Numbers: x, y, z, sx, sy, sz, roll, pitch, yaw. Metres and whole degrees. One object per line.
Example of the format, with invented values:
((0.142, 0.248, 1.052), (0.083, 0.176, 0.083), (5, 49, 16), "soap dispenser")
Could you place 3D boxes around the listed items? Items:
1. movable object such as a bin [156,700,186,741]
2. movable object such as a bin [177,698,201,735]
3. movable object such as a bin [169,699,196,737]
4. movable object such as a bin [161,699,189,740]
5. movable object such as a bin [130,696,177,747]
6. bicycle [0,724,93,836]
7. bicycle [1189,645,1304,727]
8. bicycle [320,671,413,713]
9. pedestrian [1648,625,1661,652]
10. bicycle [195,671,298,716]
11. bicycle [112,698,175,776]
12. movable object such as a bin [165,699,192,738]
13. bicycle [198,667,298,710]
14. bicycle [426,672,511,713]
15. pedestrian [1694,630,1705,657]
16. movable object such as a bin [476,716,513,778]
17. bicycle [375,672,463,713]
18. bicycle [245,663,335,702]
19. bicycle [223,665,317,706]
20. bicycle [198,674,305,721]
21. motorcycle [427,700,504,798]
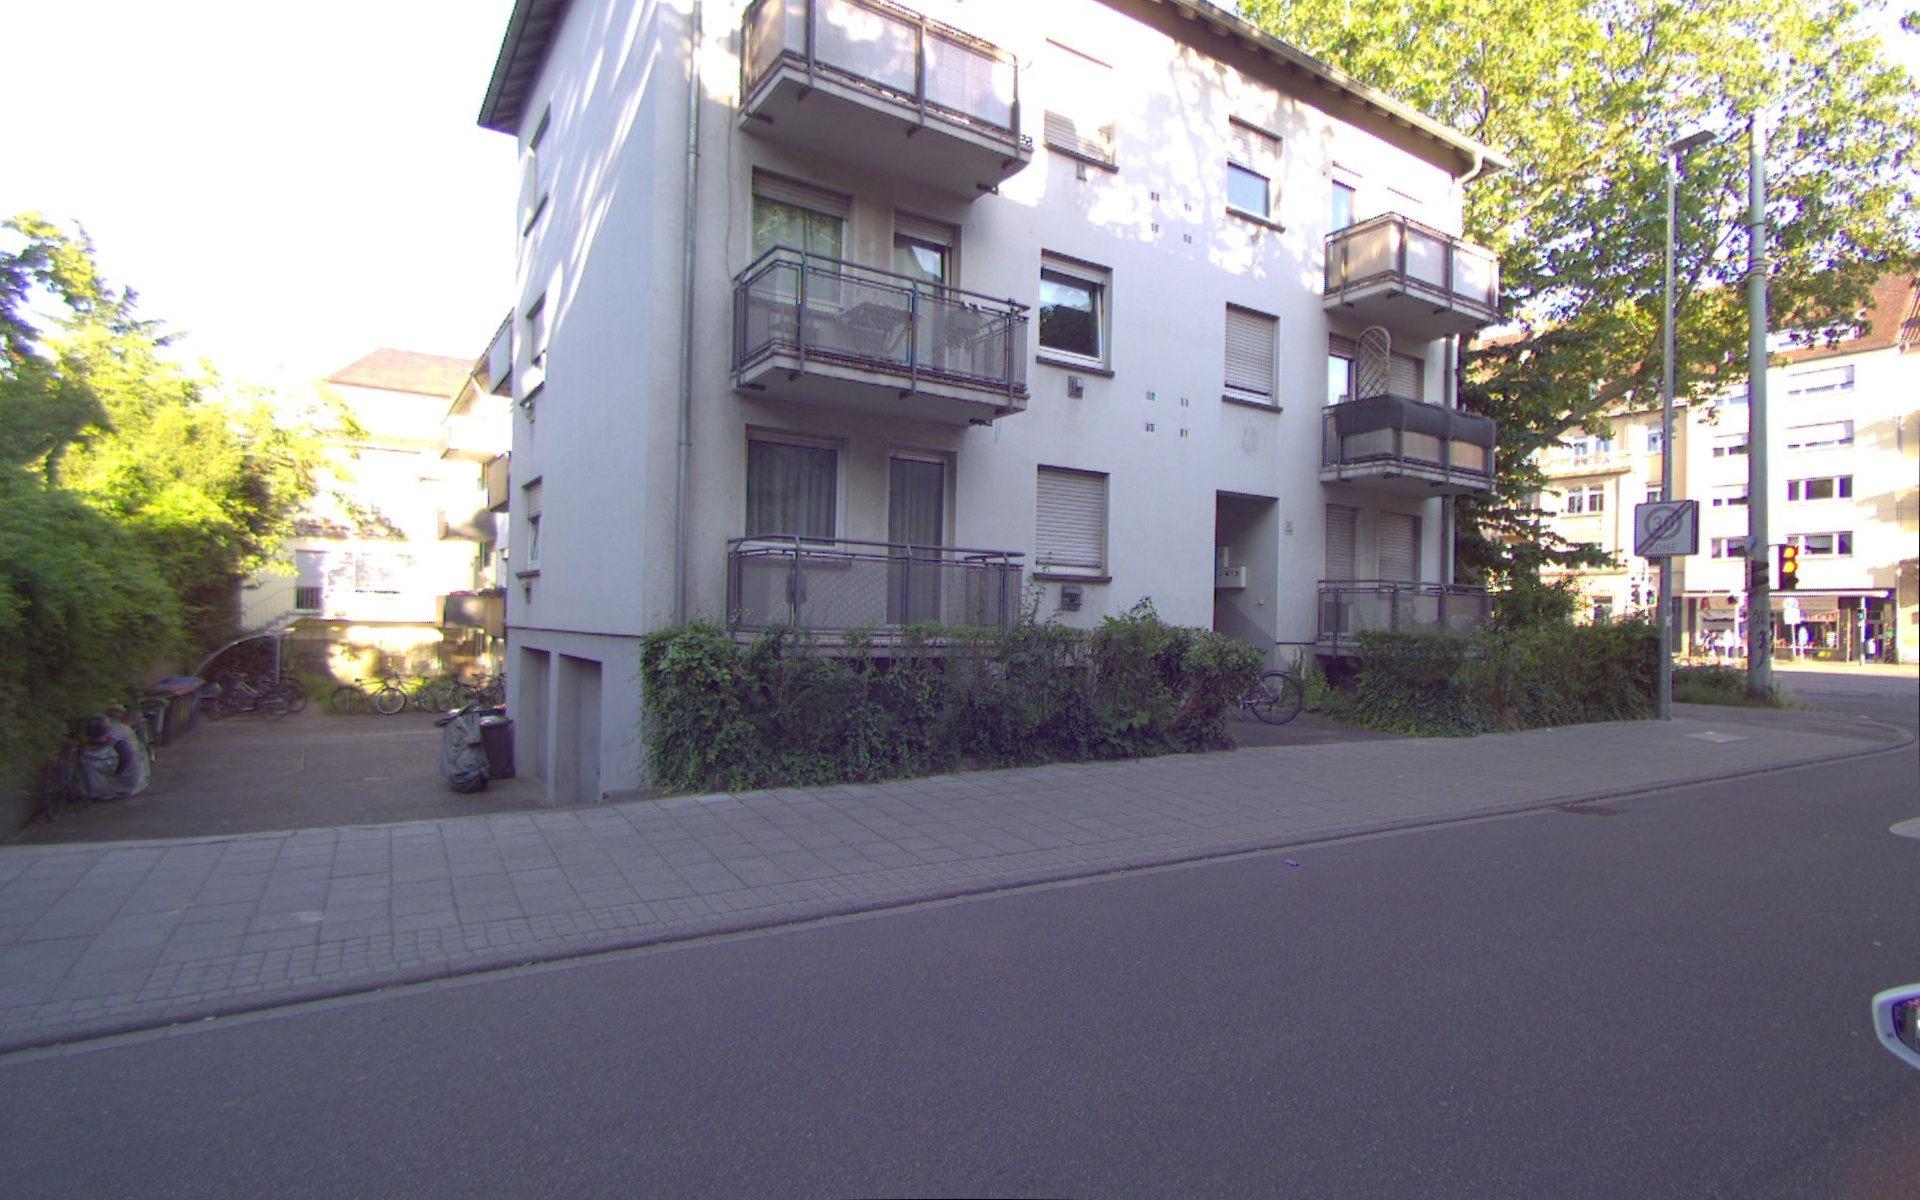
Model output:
((-15.631, 2.384, 19.900), (0.393, 0.784, 0.361), (2, -4, -30), "movable object such as a bin")
((-16.608, 2.494, 21.634), (0.342, 0.768, 0.361), (2, -4, -30), "movable object such as a bin")
((-16.210, 2.450, 20.950), (0.362, 0.768, 0.361), (2, -4, -30), "movable object such as a bin")
((-15.825, 2.406, 20.259), (0.377, 0.784, 0.361), (2, -4, -30), "movable object such as a bin")
((-14.951, 2.246, 18.627), (0.570, 0.891, 0.491), (2, -4, -30), "movable object such as a bin")
((-10.990, 2.112, 12.079), (0.509, 1.033, 1.922), (3, -1, -32), "bicycle")
((3.882, 1.148, 13.620), (1.433, 0.988, 0.407), (3, 0, 21), "bicycle")
((-15.694, 2.448, 26.619), (2.045, 1.034, 0.637), (4, 0, -30), "bicycle")
((40.468, 2.253, 58.537), (0.558, 1.531, 0.499), (0, -1, 41), "pedestrian")
((-18.029, 2.371, 25.435), (2.045, 1.034, 0.568), (4, 0, -30), "bicycle")
((-13.222, 2.184, 16.299), (0.509, 1.033, 1.922), (3, -1, -32), "bicycle")
((-16.023, 2.431, 20.601), (0.371, 0.768, 0.361), (2, -4, -30), "movable object such as a bin")
((-18.861, 2.352, 26.661), (2.045, 1.034, 0.611), (4, 0, -30), "bicycle")
((-13.622, 2.573, 27.843), (2.045, 1.034, 0.637), (4, 0, -30), "bicycle")
((42.411, 2.473, 57.597), (0.502, 1.531, 0.535), (0, -1, 37), "pedestrian")
((-7.502, 2.354, 16.189), (0.428, 0.899, 0.720), (1, -2, -34), "movable object such as a bin")
((-14.653, 2.517, 27.240), (2.045, 1.034, 0.637), (4, 0, -30), "bicycle")
((-19.019, 2.357, 28.570), (2.045, 1.034, 0.564), (4, 0, -30), "bicycle")
((-18.996, 2.353, 27.698), (2.045, 1.034, 0.611), (4, 0, -30), "bicycle")
((-17.277, 2.389, 24.556), (2.045, 1.034, 0.637), (4, 0, -30), "bicycle")
((-7.409, 2.190, 15.021), (0.751, 1.268, 1.577), (1, -2, -36), "motorcycle")
